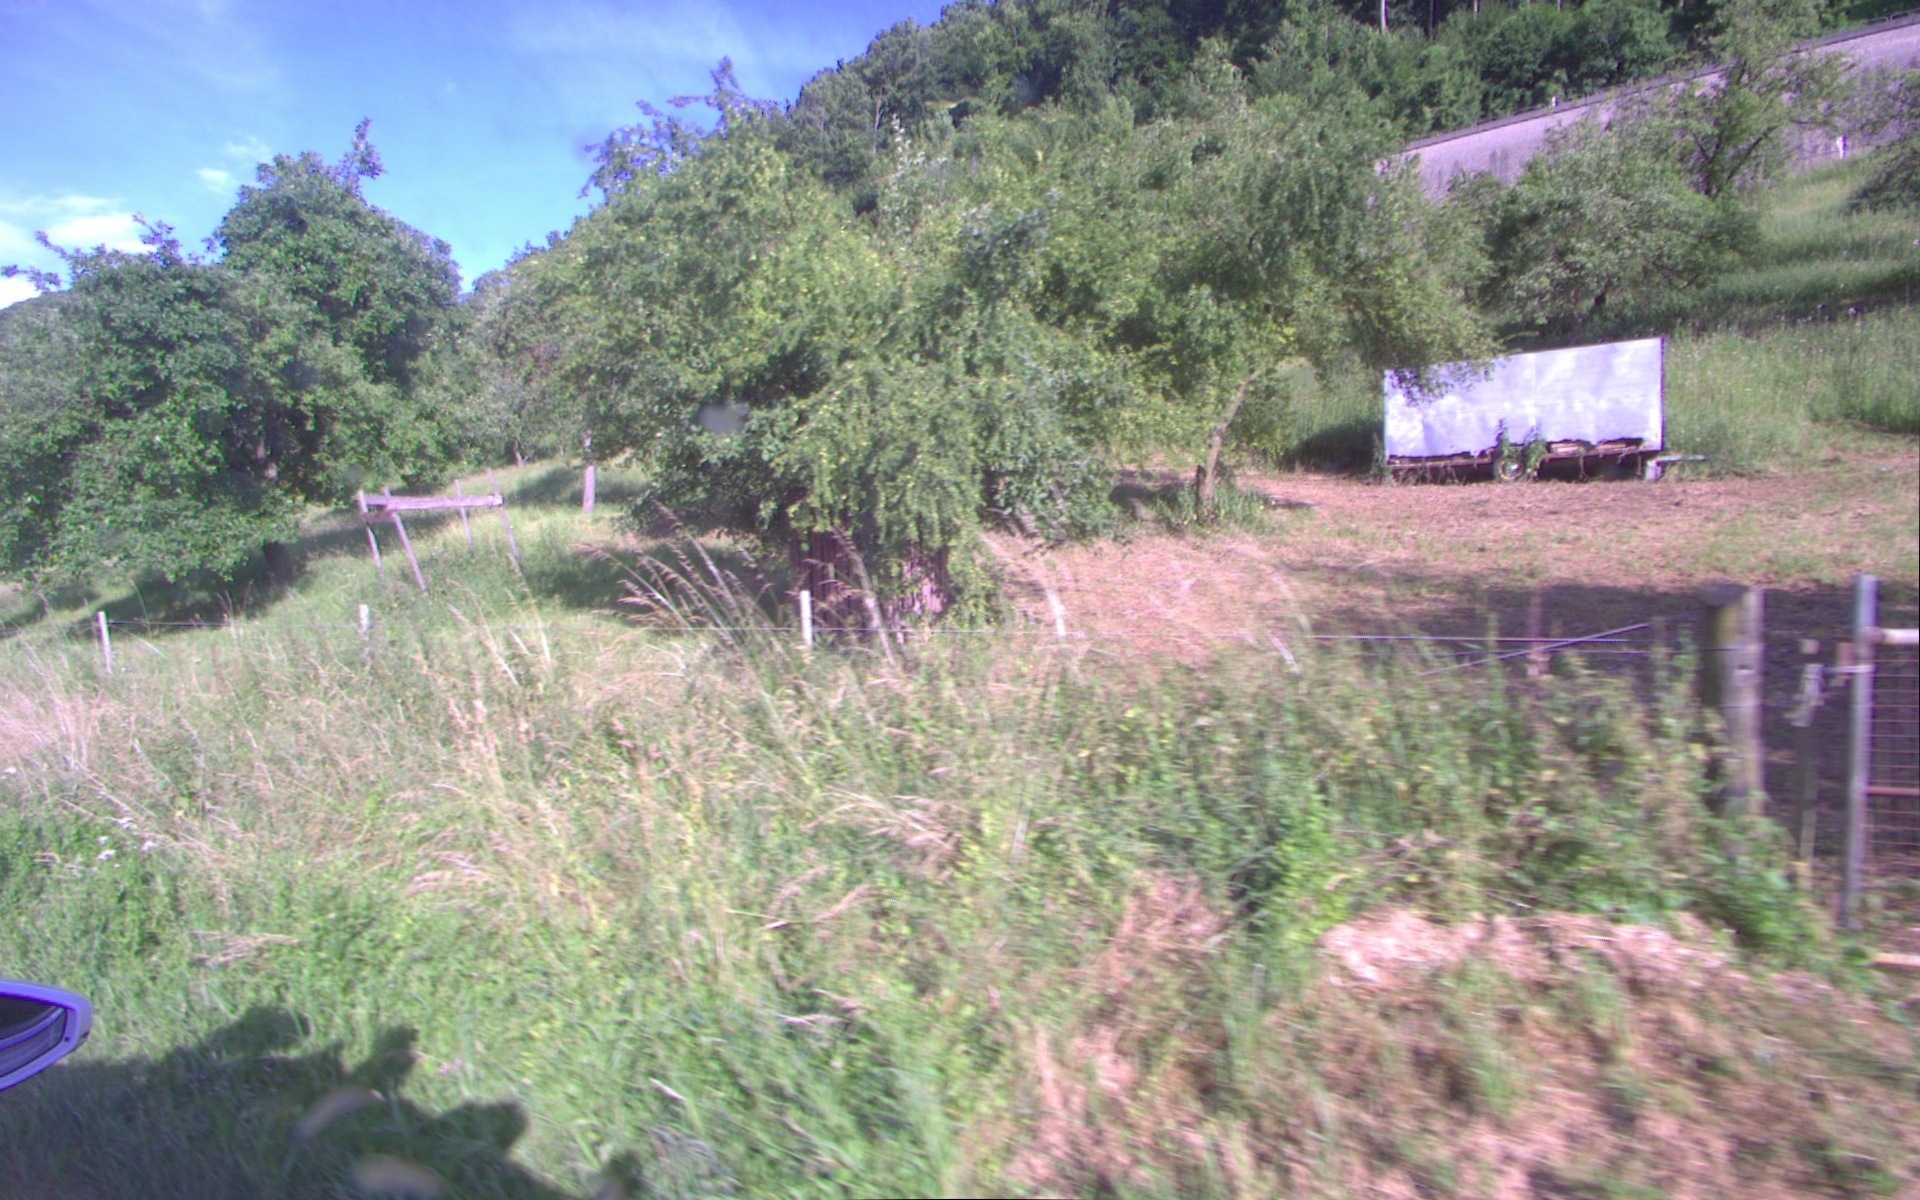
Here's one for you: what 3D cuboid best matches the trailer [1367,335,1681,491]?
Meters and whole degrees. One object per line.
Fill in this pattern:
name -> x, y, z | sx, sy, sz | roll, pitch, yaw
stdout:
trailer -> 11.181, -3.608, 20.261 | 5.165, 2.595, 2.149 | 3, 4, 29
